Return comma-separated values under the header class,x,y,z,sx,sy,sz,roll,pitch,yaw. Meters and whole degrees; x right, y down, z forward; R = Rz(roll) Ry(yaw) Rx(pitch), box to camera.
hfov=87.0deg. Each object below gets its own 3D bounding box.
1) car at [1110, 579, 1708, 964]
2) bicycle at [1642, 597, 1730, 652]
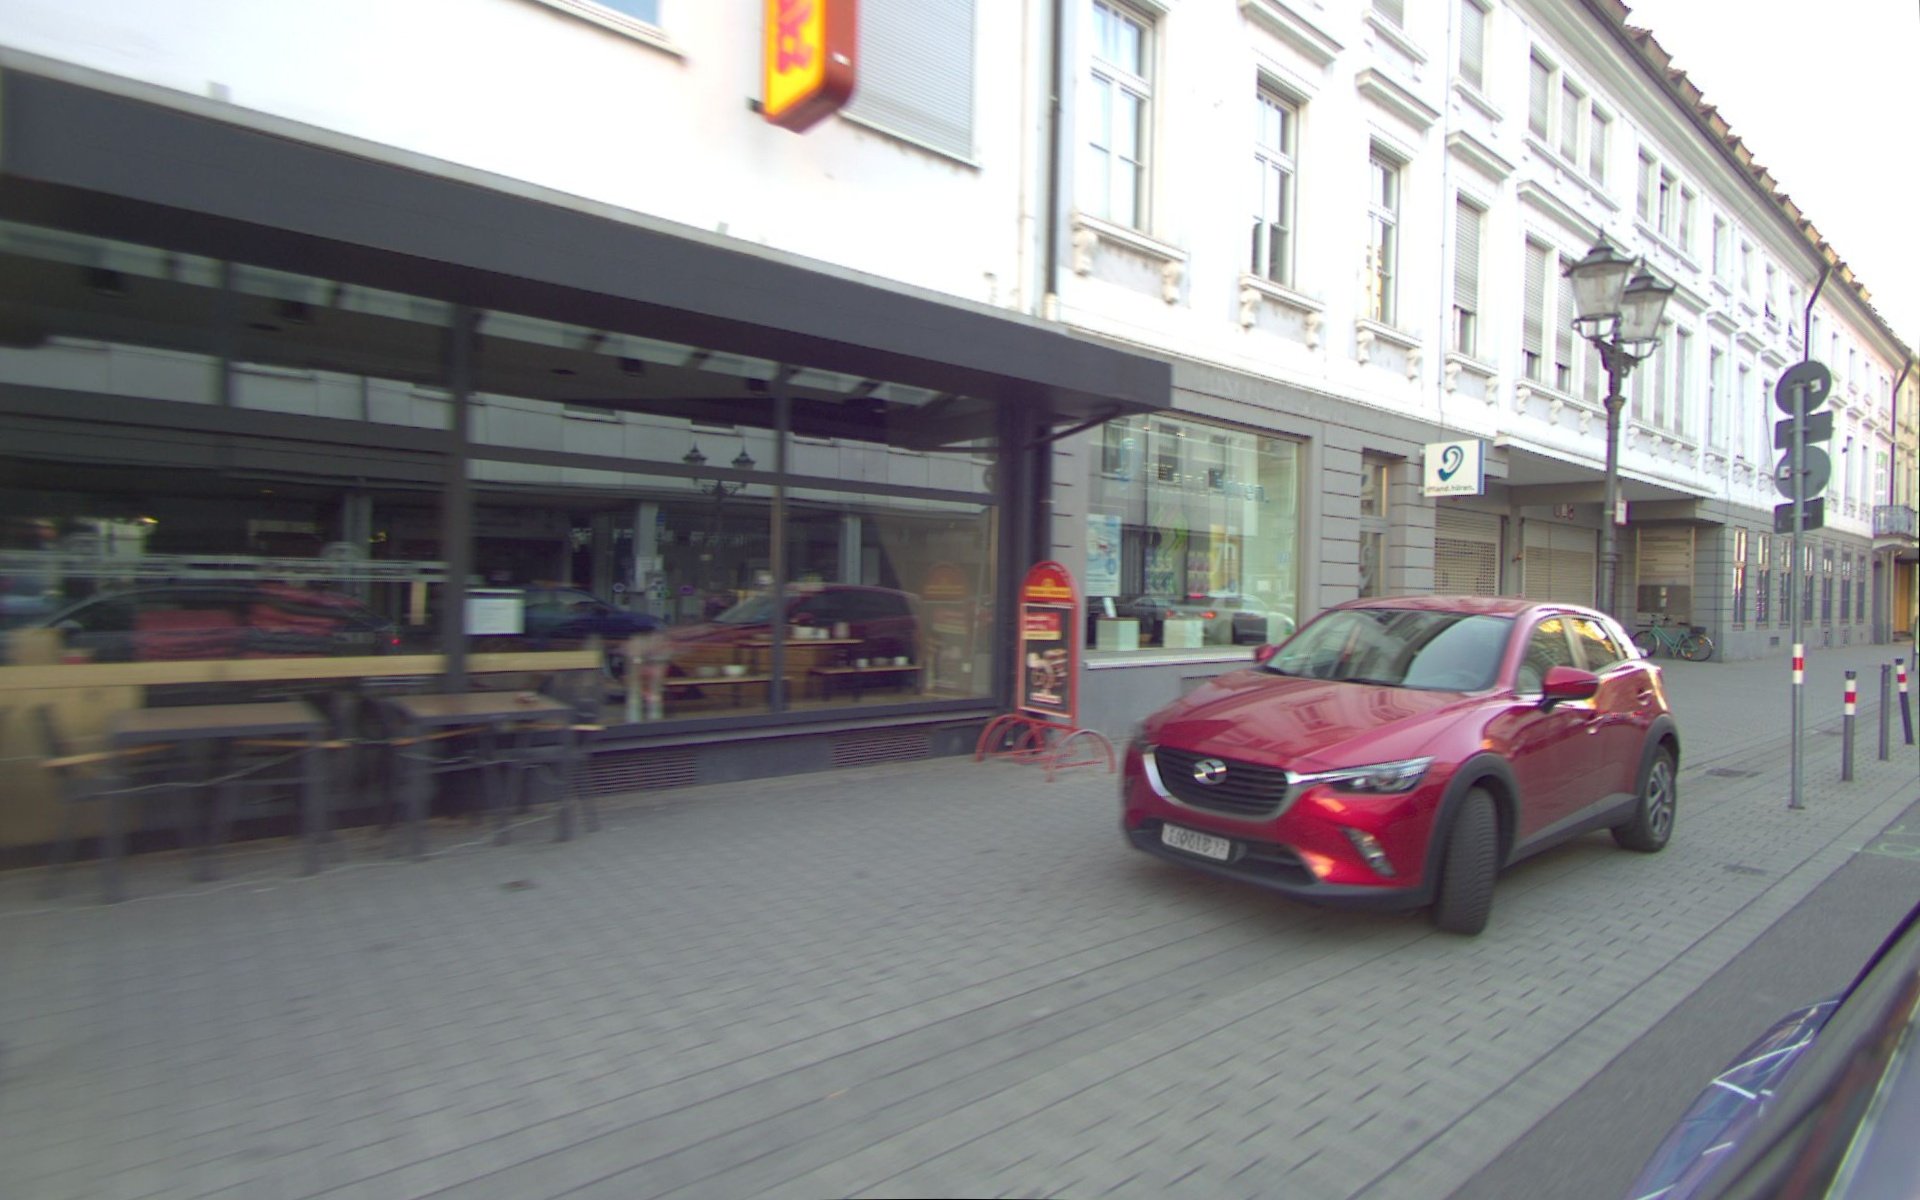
class,x,y,z,sx,sy,sz,roll,pitch,yaw
car,2.763,0.680,5.916,3.611,1.542,1.763,0,1,-39
bicycle,17.507,0.572,24.444,0.431,1.268,1.659,1,1,-42
